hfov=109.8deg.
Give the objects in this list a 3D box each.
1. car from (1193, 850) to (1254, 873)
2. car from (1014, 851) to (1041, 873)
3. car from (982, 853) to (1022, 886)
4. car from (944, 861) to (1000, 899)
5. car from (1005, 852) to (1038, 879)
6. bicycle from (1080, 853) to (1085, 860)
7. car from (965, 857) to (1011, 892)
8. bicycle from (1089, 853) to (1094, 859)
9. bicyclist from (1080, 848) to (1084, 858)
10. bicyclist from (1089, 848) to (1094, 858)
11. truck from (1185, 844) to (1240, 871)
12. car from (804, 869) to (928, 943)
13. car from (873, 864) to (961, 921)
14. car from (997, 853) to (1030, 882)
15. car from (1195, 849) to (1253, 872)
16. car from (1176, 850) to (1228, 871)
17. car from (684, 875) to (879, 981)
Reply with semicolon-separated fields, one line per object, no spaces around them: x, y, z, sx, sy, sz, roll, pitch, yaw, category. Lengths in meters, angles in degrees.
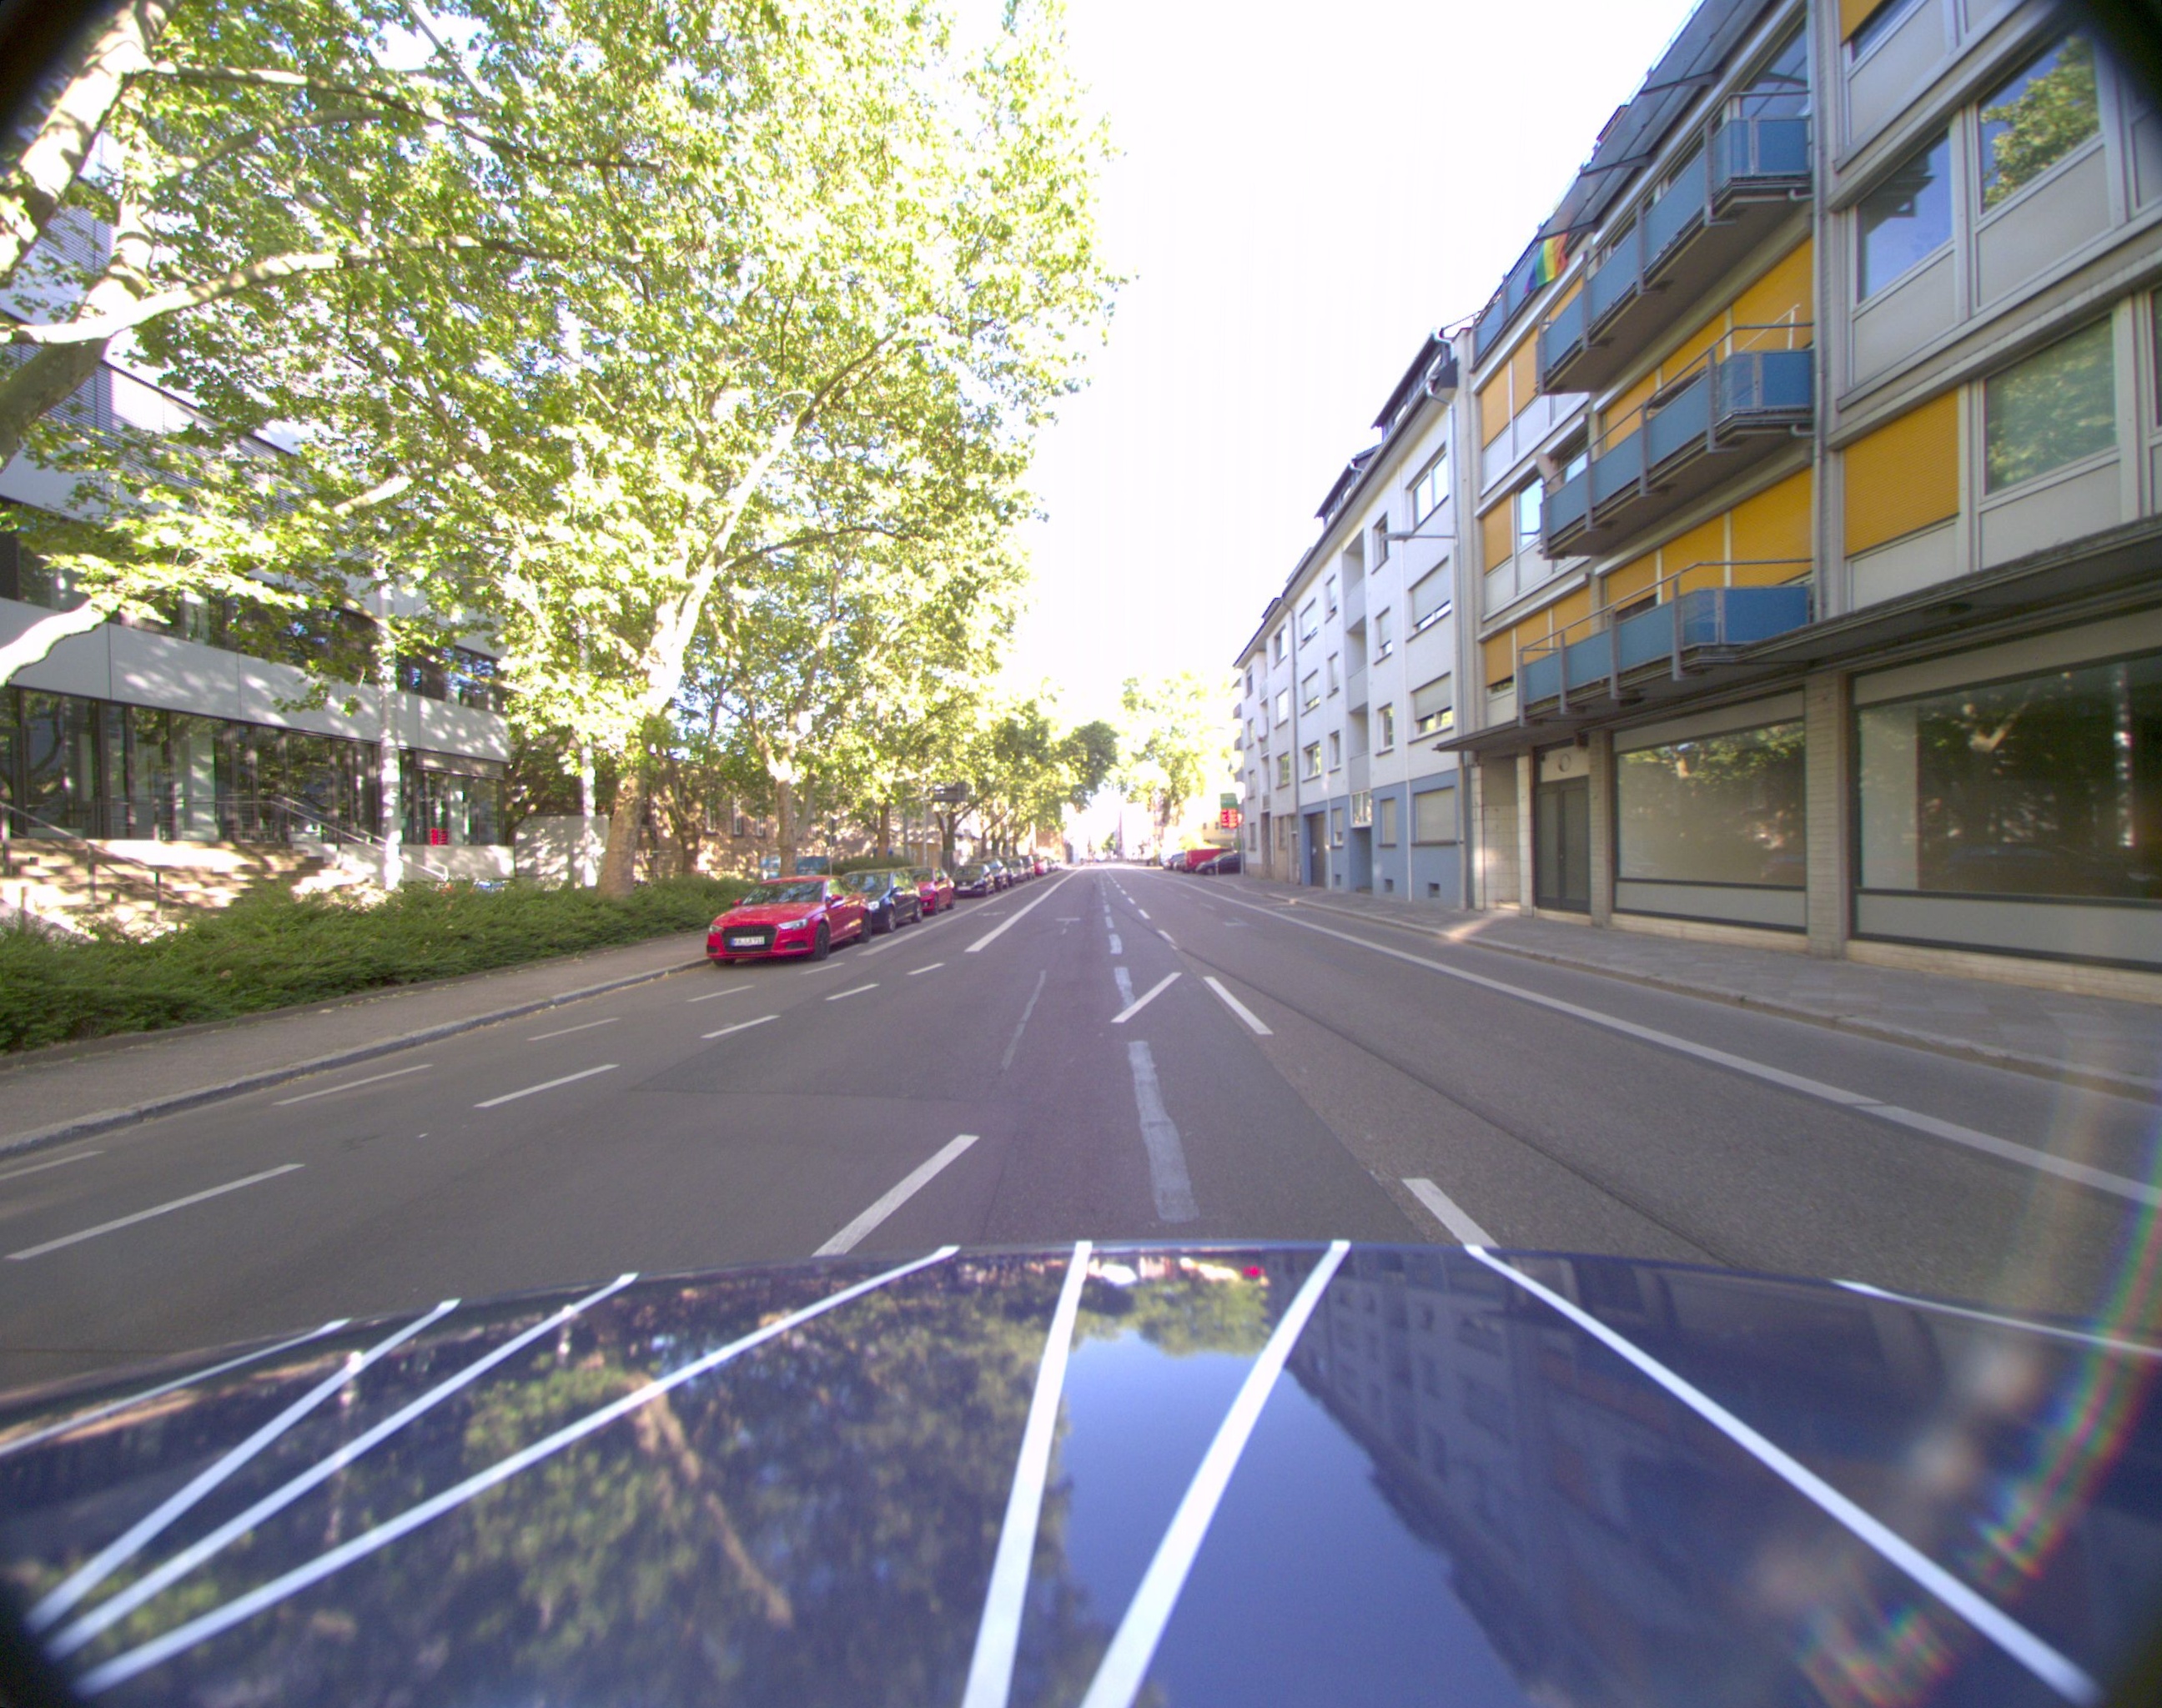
10.243;0.550;54.810;3.996;1.449;1.761;-2;1;2;car
-4.603;0.700;66.107;2.042;1.745;4.552;-3;0;0;car
-4.534;0.870;44.162;1.790;1.745;4.345;-3;0;0;car
-4.711;1.079;33.400;1.790;1.451;4.163;-3;0;0;car
-4.328;0.797;55.676;2.042;1.745;4.552;-3;0;0;car
0.191;0.448;124.036;0.717;1.052;2.485;-2;1;1;bicycle
-4.611;0.979;38.146;1.790;1.544;4.163;-3;0;0;car
1.772;0.318;124.374;0.717;1.052;2.485;-2;1;1;bicycle
0.160;-0.125;124.001;0.718;1.573;0.936;-2;1;1;bicyclist
1.751;-0.201;124.396;0.718;1.573;0.936;-2;1;1;bicyclist
10.357;0.249;60.007;3.996;1.925;1.761;-2;1;2;truck
-5.090;1.172;18.590;1.818;1.405;4.163;-3;0;0;car
-5.038;1.126;23.873;1.818;1.475;4.163;-3;0;0;car
-4.456;0.853;50.718;1.790;1.745;4.552;-3;0;0;car
10.717;0.483;57.157;3.996;1.494;1.761;-2;1;2;car
9.967;0.529;62.860;3.996;1.494;1.761;-2;1;2;car
-5.146;1.195;13.734;1.818;1.405;4.163;-3;0;0;car
